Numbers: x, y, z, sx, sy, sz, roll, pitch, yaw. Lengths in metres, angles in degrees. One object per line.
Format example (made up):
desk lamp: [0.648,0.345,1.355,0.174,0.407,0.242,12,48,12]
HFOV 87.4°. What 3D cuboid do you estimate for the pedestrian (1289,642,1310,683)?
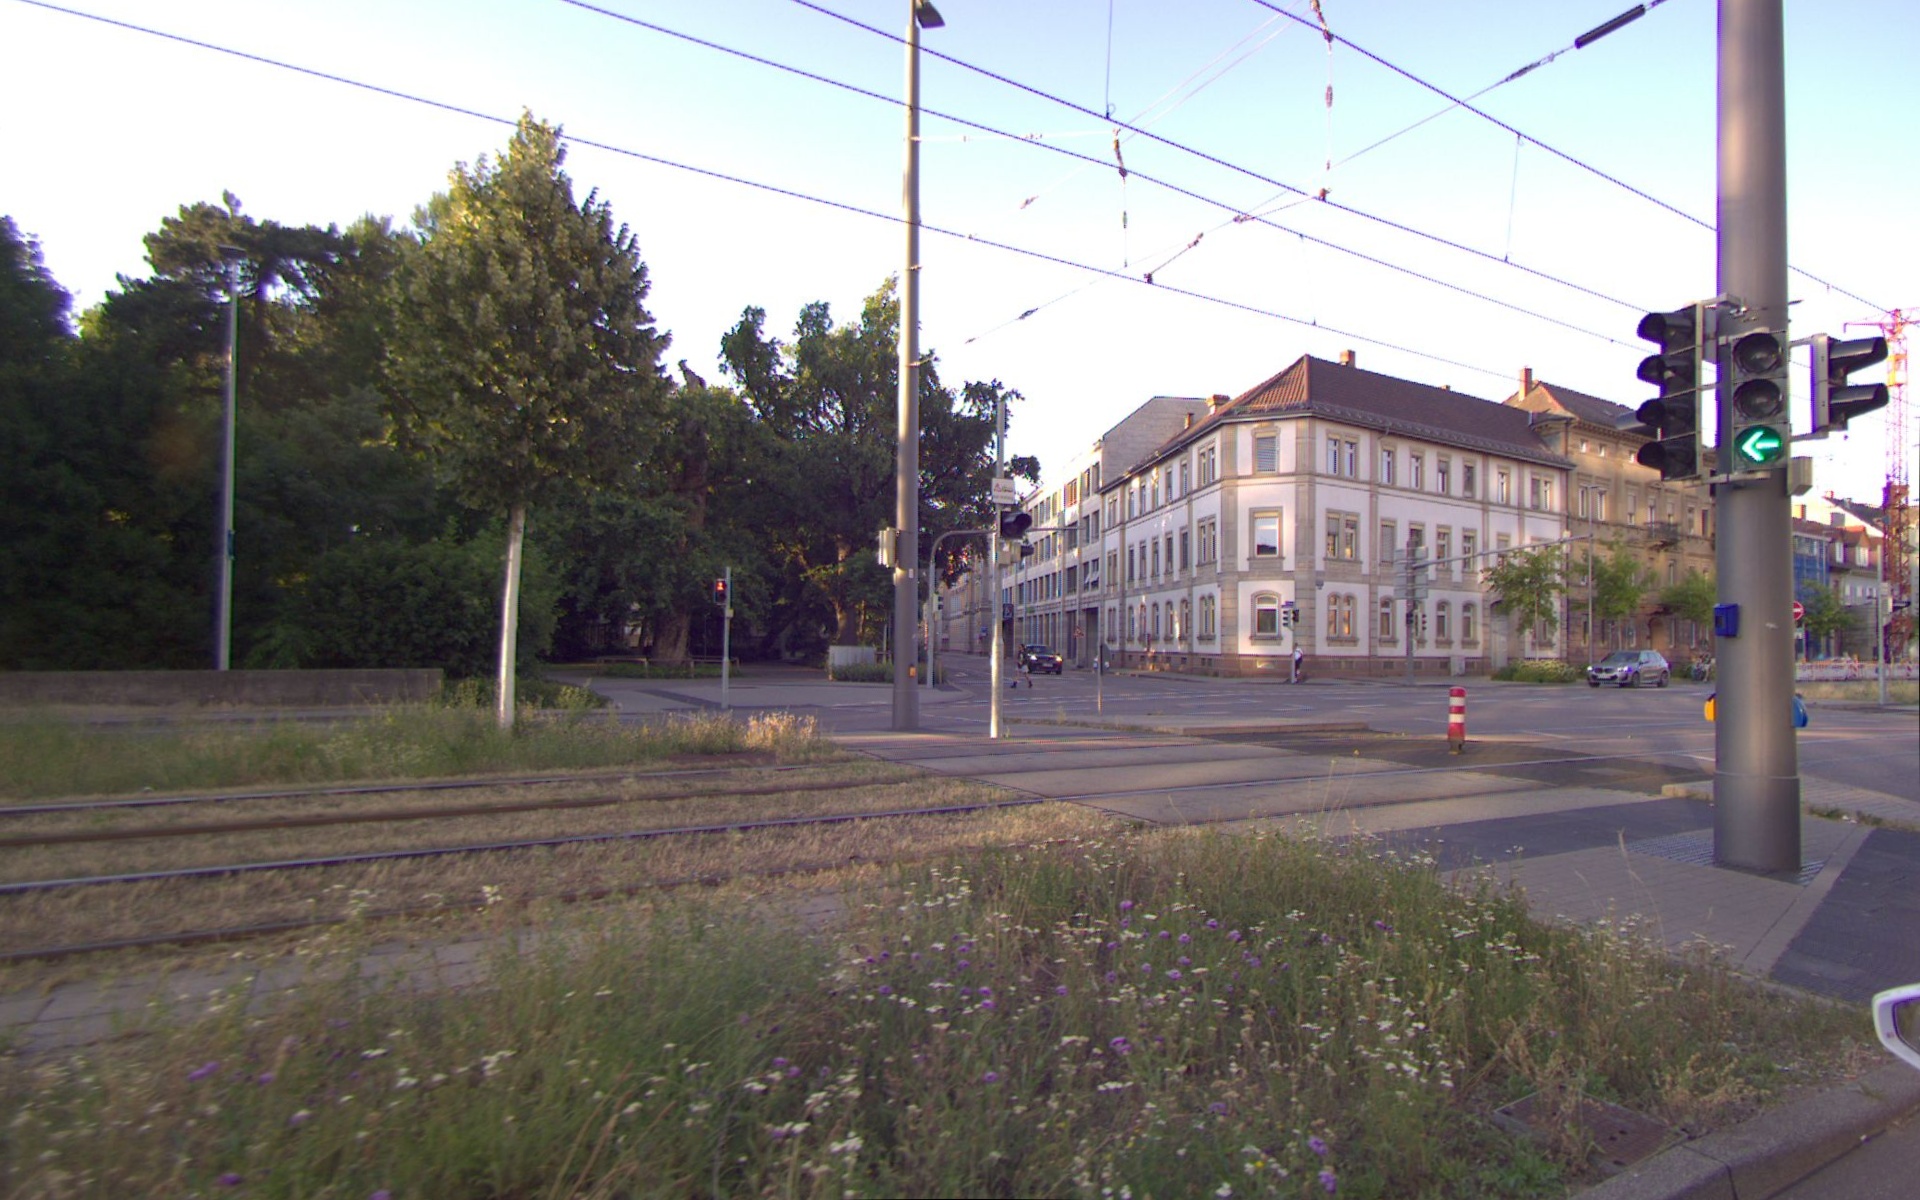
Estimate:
pedestrian: [15.100,2.769,44.614,0.797,1.738,0.704,2,0,22]

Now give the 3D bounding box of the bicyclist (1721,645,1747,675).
bicyclist: [41.889,3.238,54.364,0.781,1.591,0.770,2,0,-23]

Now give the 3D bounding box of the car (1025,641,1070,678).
car: [4.372,2.972,50.870,1.755,1.576,3.999,2,0,-2]

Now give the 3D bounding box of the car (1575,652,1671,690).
car: [29.134,3.082,44.121,4.078,1.600,1.984,2,-4,-32]

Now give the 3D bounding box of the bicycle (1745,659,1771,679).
bicycle: [42.288,3.658,53.223,1.538,0.988,0.587,2,0,-31]

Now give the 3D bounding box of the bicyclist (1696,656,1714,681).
bicyclist: [39.618,3.632,53.436,0.453,1.283,0.588,2,0,-24]

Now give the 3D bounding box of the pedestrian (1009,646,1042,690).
pedestrian: [2.268,2.368,34.854,0.924,1.478,0.601,2,0,-28]

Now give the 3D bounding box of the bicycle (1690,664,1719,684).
bicycle: [39.608,3.938,53.437,1.535,1.002,0.588,2,0,-25]

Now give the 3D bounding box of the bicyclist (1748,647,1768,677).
bicyclist: [42.300,3.284,53.221,0.703,1.590,0.587,2,0,-31]

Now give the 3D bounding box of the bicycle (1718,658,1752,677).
bicycle: [41.959,3.643,54.402,1.616,0.957,0.770,2,0,-23]
